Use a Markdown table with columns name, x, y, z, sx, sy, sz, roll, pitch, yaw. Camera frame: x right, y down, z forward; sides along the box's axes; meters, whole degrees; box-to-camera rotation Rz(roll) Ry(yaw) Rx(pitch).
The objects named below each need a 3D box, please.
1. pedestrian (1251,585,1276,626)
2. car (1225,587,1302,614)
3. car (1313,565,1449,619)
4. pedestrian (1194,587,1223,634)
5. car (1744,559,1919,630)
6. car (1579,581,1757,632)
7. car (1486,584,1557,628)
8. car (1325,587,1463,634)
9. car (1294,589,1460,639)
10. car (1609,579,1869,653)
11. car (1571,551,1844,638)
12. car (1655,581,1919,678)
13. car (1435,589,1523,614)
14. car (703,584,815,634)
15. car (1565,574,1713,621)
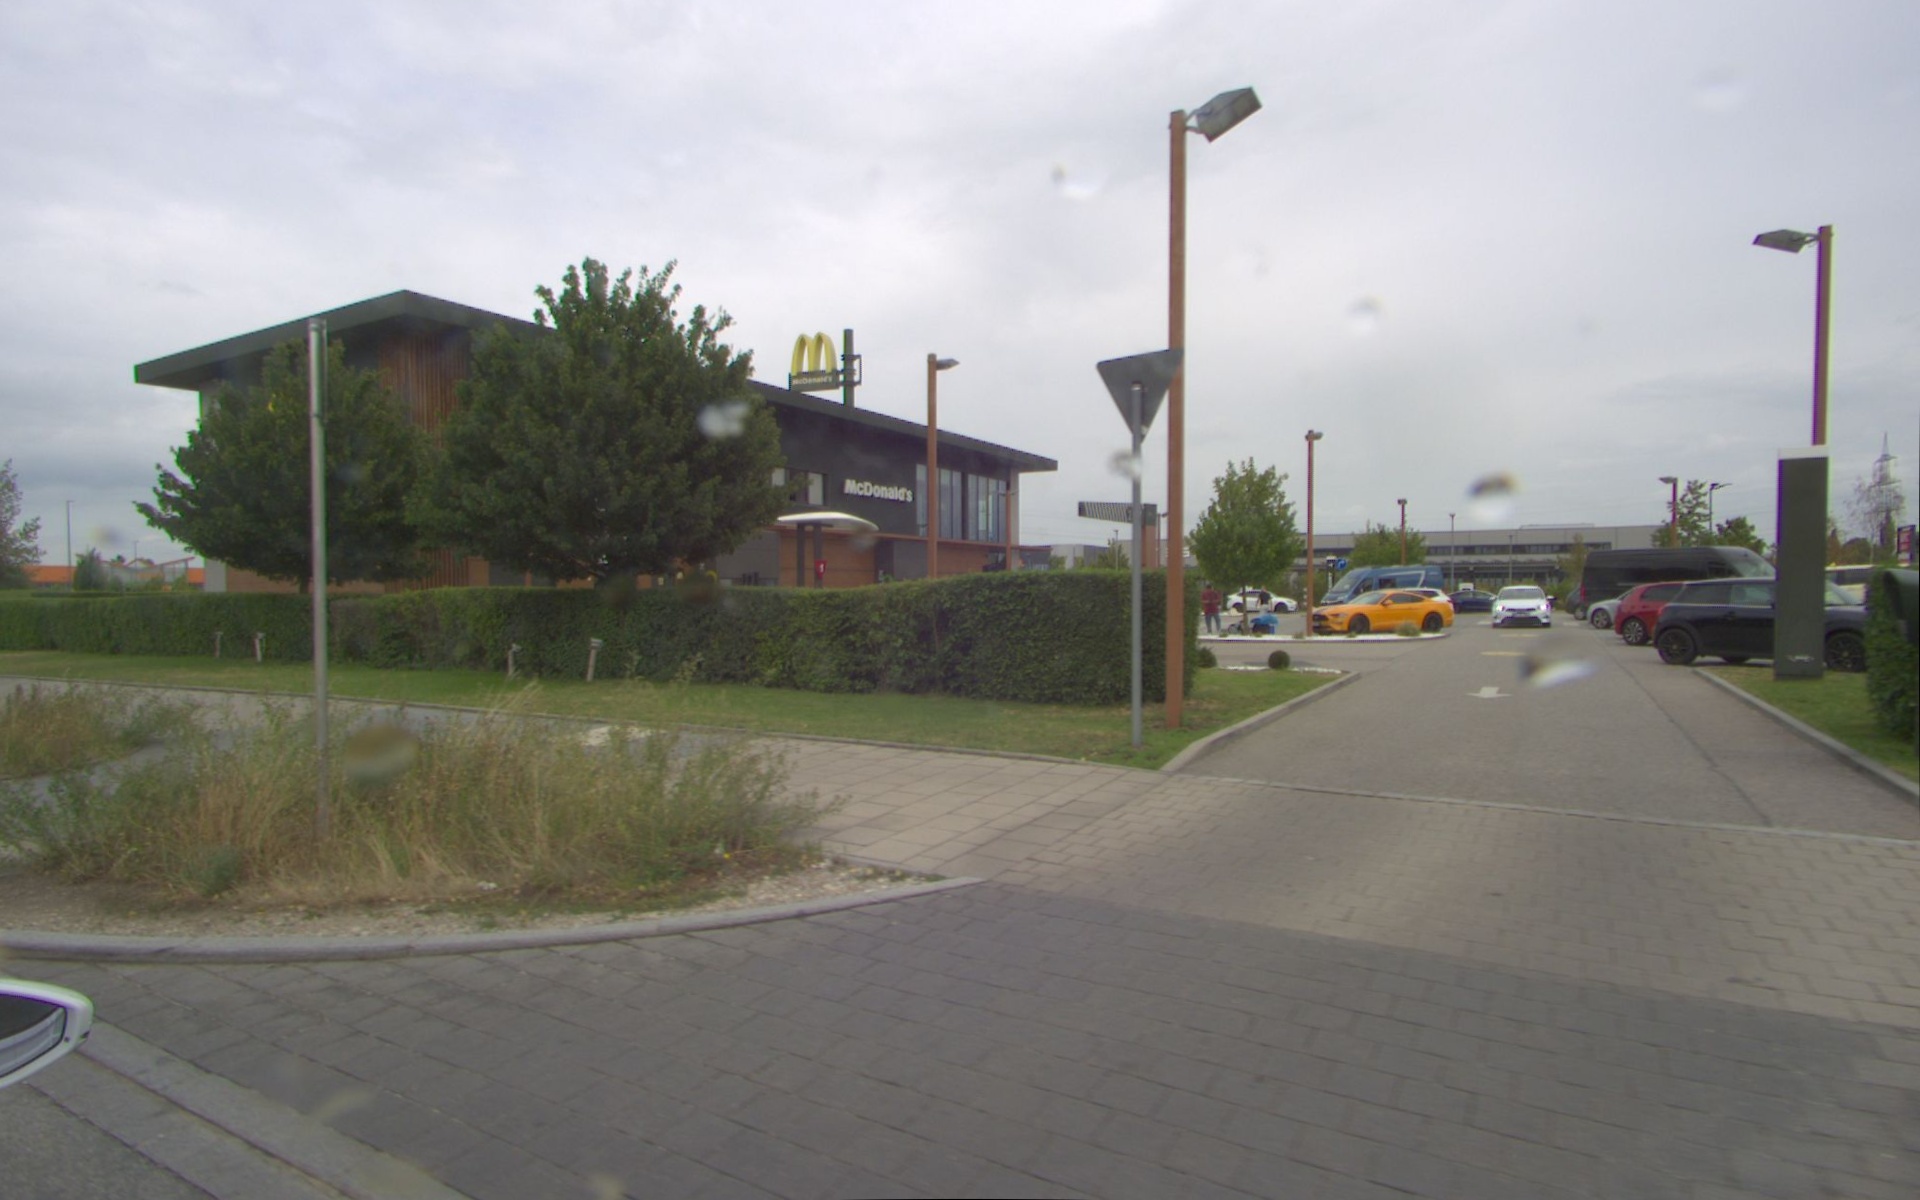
| name | x | y | z | sx | sy | sz | roll | pitch | yaw |
| --- | --- | --- | --- | --- | --- | --- | --- | --- | --- |
| pedestrian | 12.427 | 0.234 | 41.034 | 0.673 | 1.649 | 0.739 | 0 | 0 | -22 |
| car | 20.500 | 0.043 | 67.708 | 4.692 | 1.803 | 1.947 | 0 | 0 | 30 |
| car | 20.748 | -0.406 | 49.430 | 5.933 | 2.562 | 2.279 | 0 | 1 | -10 |
| pedestrian | 7.782 | 0.314 | 31.351 | 0.755 | 1.458 | 0.624 | 0 | 1 | 0 |
| car | 31.683 | -0.206 | 35.674 | 2.511 | 2.382 | 5.633 | -1 | 1 | -45 |
| car | 21.704 | 0.188 | 30.905 | 1.921 | 1.462 | 4.210 | -1 | 0 | -17 |
| car | 20.000 | 0.200 | 35.586 | 1.929 | 1.462 | 4.194 | 0 | 0 | 33 |
| car | 16.362 | 0.373 | 37.774 | 4.652 | 1.678 | 1.995 | -1 | 0 | -19 |
| car | 13.105 | 0.423 | 31.520 | 4.649 | 1.463 | 1.996 | -1 | 0 | -17 |
| car | 16.688 | 0.302 | 21.752 | 1.970 | 1.448 | 4.148 | 0 | 0 | -14 |
| car | 24.246 | -0.175 | 33.058 | 2.241 | 2.535 | 7.312 | 0 | 1 | -17 |
| car | 13.377 | 0.387 | 15.631 | 1.786 | 1.330 | 3.838 | 0 | 1 | -20 |
| car | 31.549 | 0.081 | 60.890 | 4.580 | 1.463 | 1.945 | 0 | 0 | 33 |
| car | -7.416 | 0.337 | 37.271 | 1.970 | 1.739 | 3.981 | 0 | 0 | 30 |
| car | 27.516 | -0.090 | 40.727 | 4.603 | 1.840 | 1.864 | -1 | 1 | 13 |
